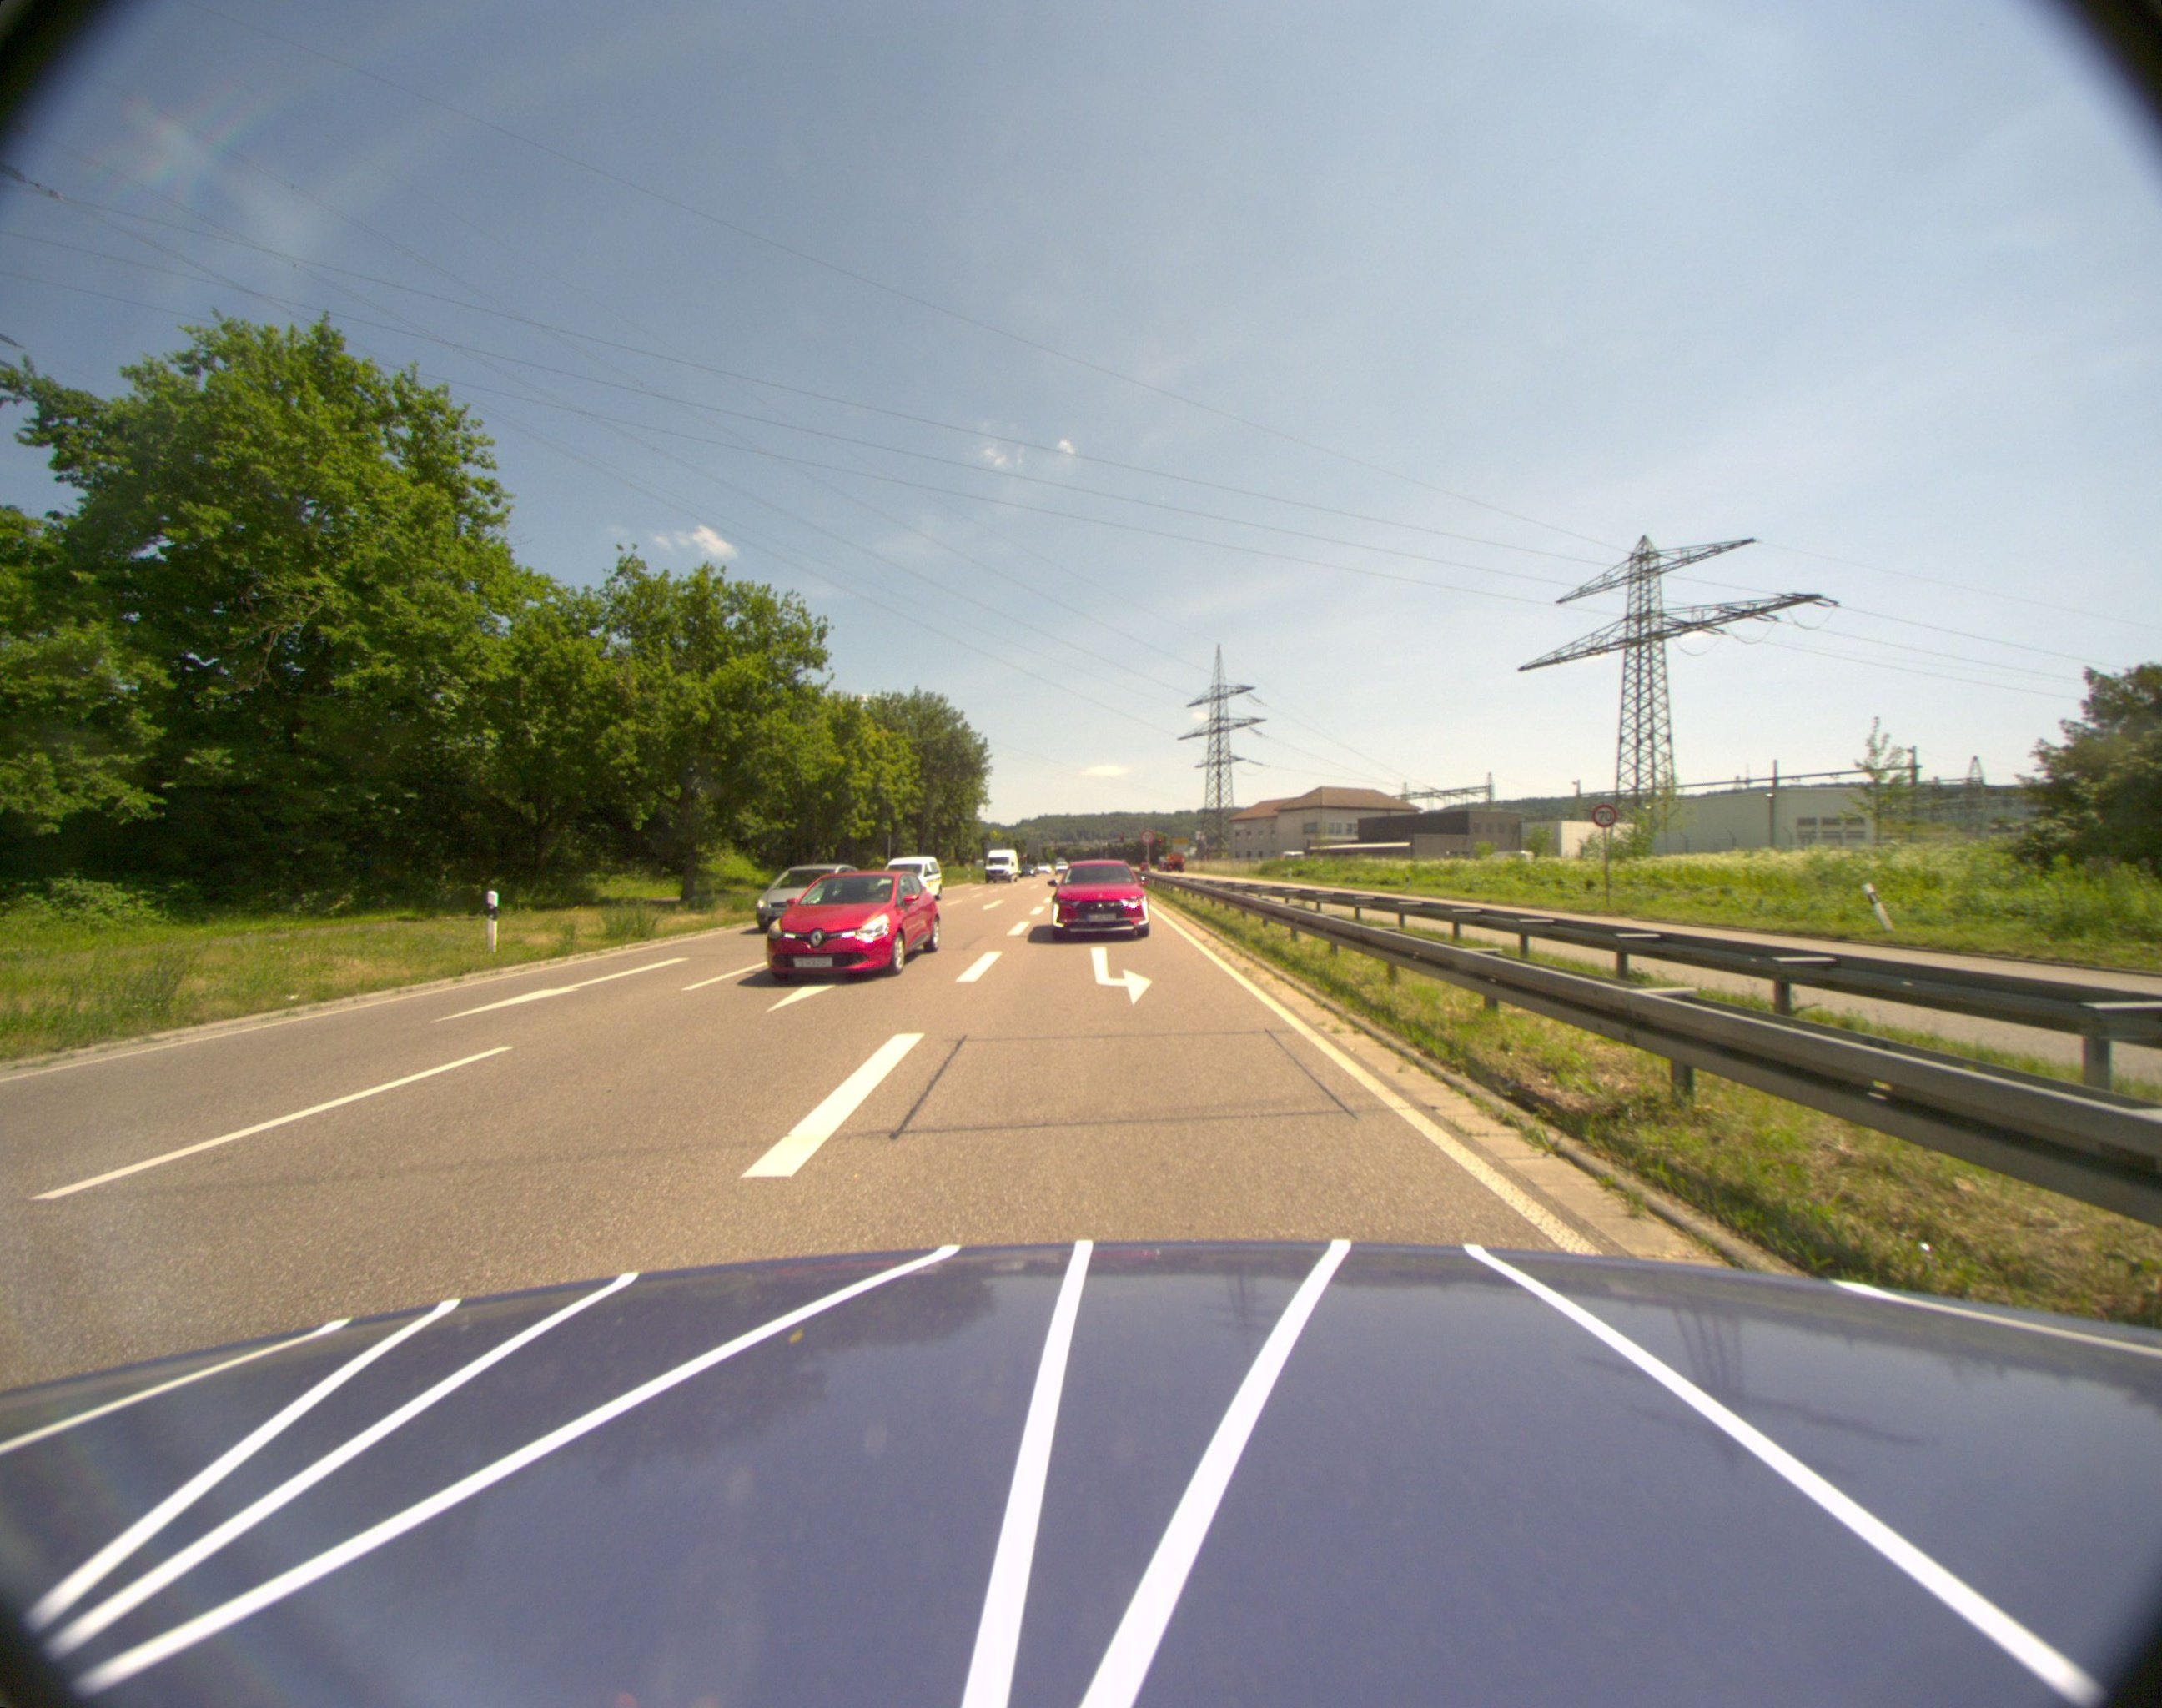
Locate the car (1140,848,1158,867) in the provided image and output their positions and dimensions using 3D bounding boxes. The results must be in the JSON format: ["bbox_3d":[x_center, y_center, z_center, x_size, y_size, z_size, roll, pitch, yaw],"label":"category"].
[{"bbox_3d":[11.425,0.593,128.567,2.607,3.043,5.639,0,0,0],"label":"car"}]

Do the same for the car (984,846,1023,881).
[{"bbox_3d":[-6.113,0.731,61.044,2.232,2.592,7.019,-2,0,1],"label":"car"}]

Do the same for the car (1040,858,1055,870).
[{"bbox_3d":[-5.014,1.494,114.052,1.850,1.559,4.148,-2,0,1],"label":"car"}]

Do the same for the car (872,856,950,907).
[{"bbox_3d":[-6.583,1.001,29.950,1.809,1.790,5.038,-2,0,1],"label":"car"}]

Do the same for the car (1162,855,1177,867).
[{"bbox_3d":[15.594,1.177,134.218,1.999,1.904,3.998,-2,1,-3],"label":"car"}]

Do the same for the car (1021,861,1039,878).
[{"bbox_3d":[-5.793,1.746,86.881,1.878,1.674,3.999,-2,1,-1],"label":"car"}]

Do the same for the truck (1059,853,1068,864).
[{"bbox_3d":[-4.407,1.091,191.149,2.170,2.428,4.909,-2,1,-1],"label":"truck"}]

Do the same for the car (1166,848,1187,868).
[{"bbox_3d":[15.408,0.637,122.842,2.607,3.043,5.639,0,0,0],"label":"car"}]

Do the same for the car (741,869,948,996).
[{"bbox_3d":[-3.319,1.028,11.542,1.747,1.453,4.065,-2,0,1],"label":"car"}]

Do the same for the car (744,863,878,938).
[{"bbox_3d":[-6.704,1.082,19.362,1.747,1.585,4.272,-2,0,1],"label":"car"}]

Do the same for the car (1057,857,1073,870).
[{"bbox_3d":[-2.061,1.231,97.875,1.850,1.559,4.363,-2,0,1],"label":"car"}]

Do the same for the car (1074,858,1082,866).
[{"bbox_3d":[-0.679,1.902,176.565,1.878,1.674,3.999,-2,1,-1],"label":"car"}]

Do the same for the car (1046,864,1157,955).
[{"bbox_3d":[0.394,0.972,15.127,1.846,1.453,4.414,-2,0,1],"label":"car"}]
